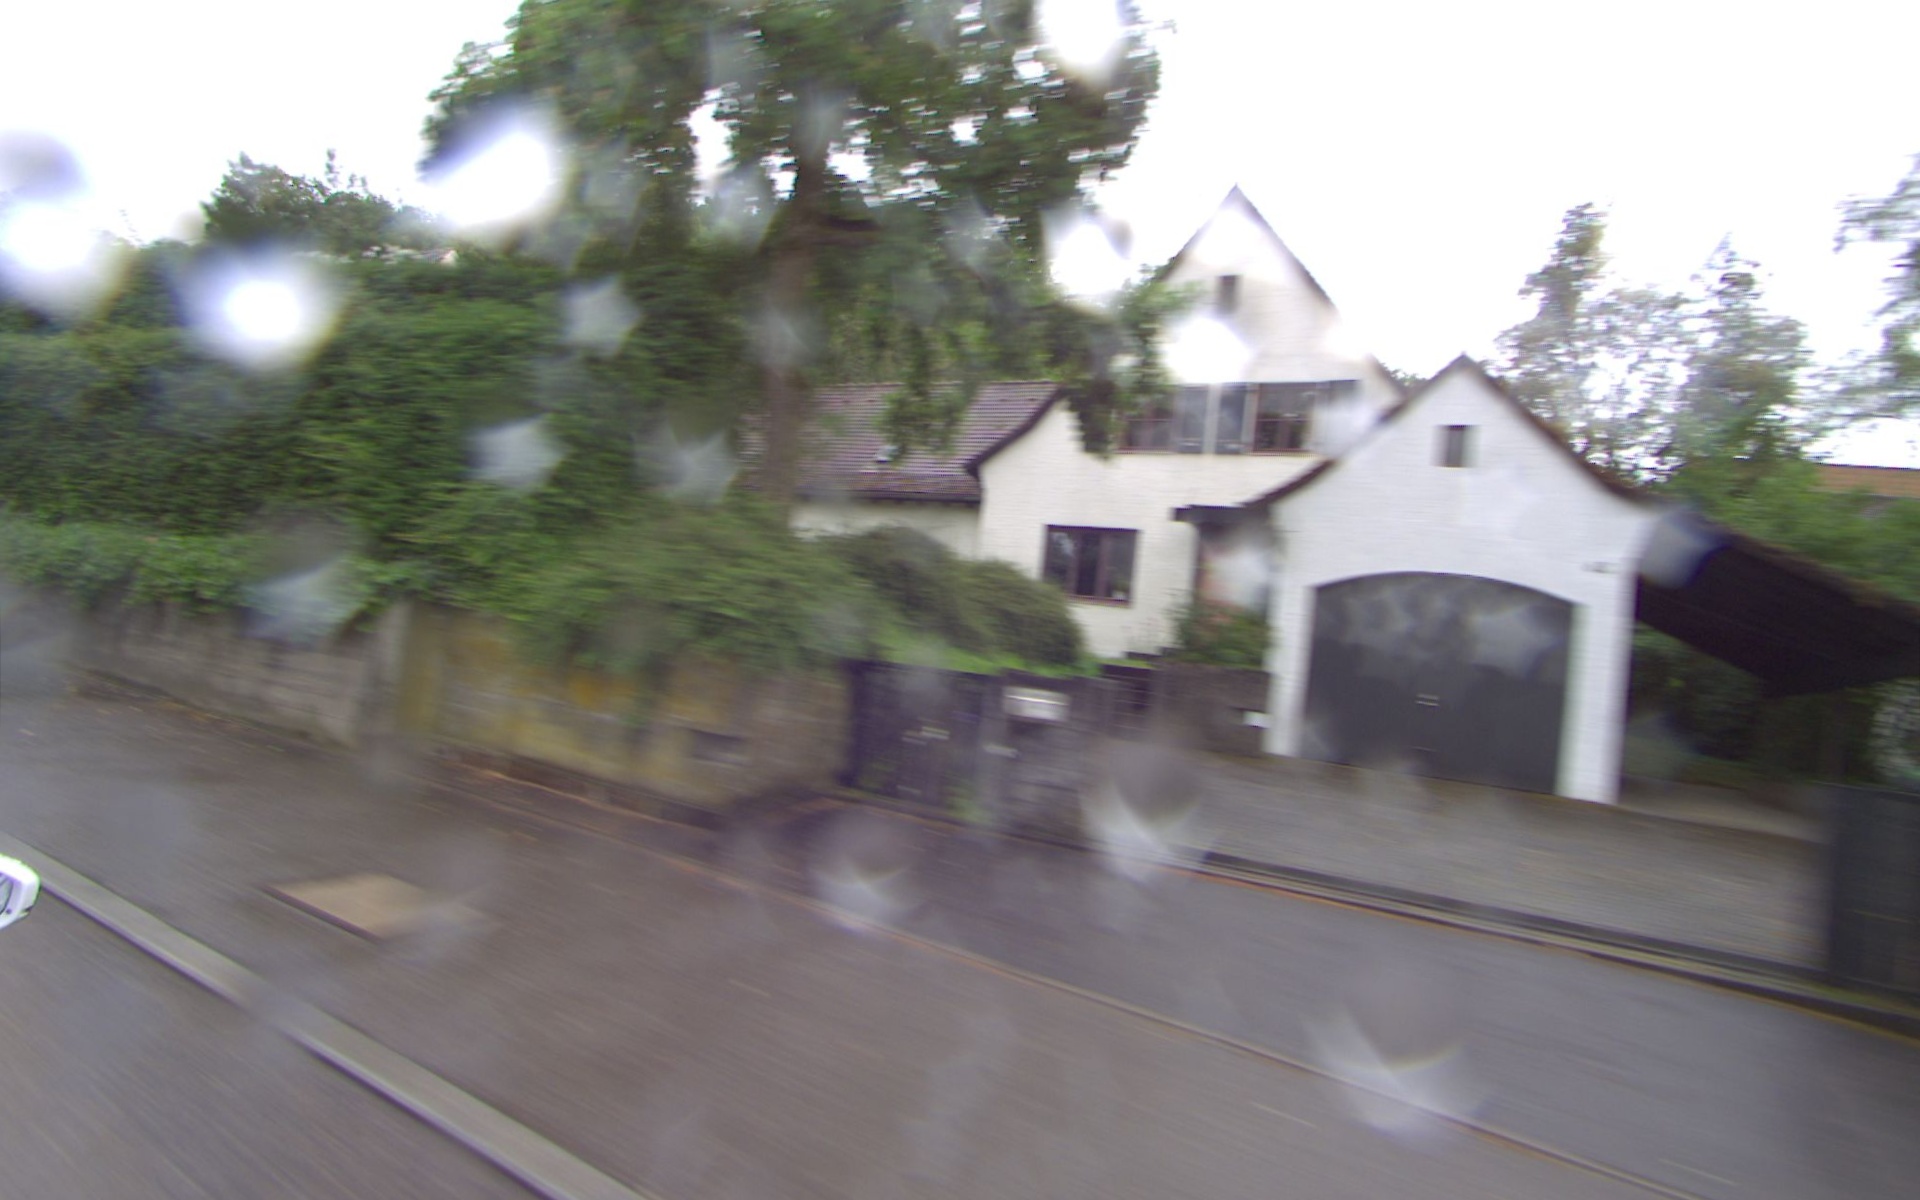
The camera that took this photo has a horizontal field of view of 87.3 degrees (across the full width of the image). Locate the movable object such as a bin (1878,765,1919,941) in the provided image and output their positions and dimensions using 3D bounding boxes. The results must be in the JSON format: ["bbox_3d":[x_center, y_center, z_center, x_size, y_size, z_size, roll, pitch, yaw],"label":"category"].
[{"bbox_3d":[6.303,1.608,6.245,0.689,1.022,0.636,5,0,28],"label":"movable object such as a bin"}]

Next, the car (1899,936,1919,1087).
[{"bbox_3d":[5.489,1.457,2.788,3.778,1.555,1.534,8,2,28],"label":"car"}]
